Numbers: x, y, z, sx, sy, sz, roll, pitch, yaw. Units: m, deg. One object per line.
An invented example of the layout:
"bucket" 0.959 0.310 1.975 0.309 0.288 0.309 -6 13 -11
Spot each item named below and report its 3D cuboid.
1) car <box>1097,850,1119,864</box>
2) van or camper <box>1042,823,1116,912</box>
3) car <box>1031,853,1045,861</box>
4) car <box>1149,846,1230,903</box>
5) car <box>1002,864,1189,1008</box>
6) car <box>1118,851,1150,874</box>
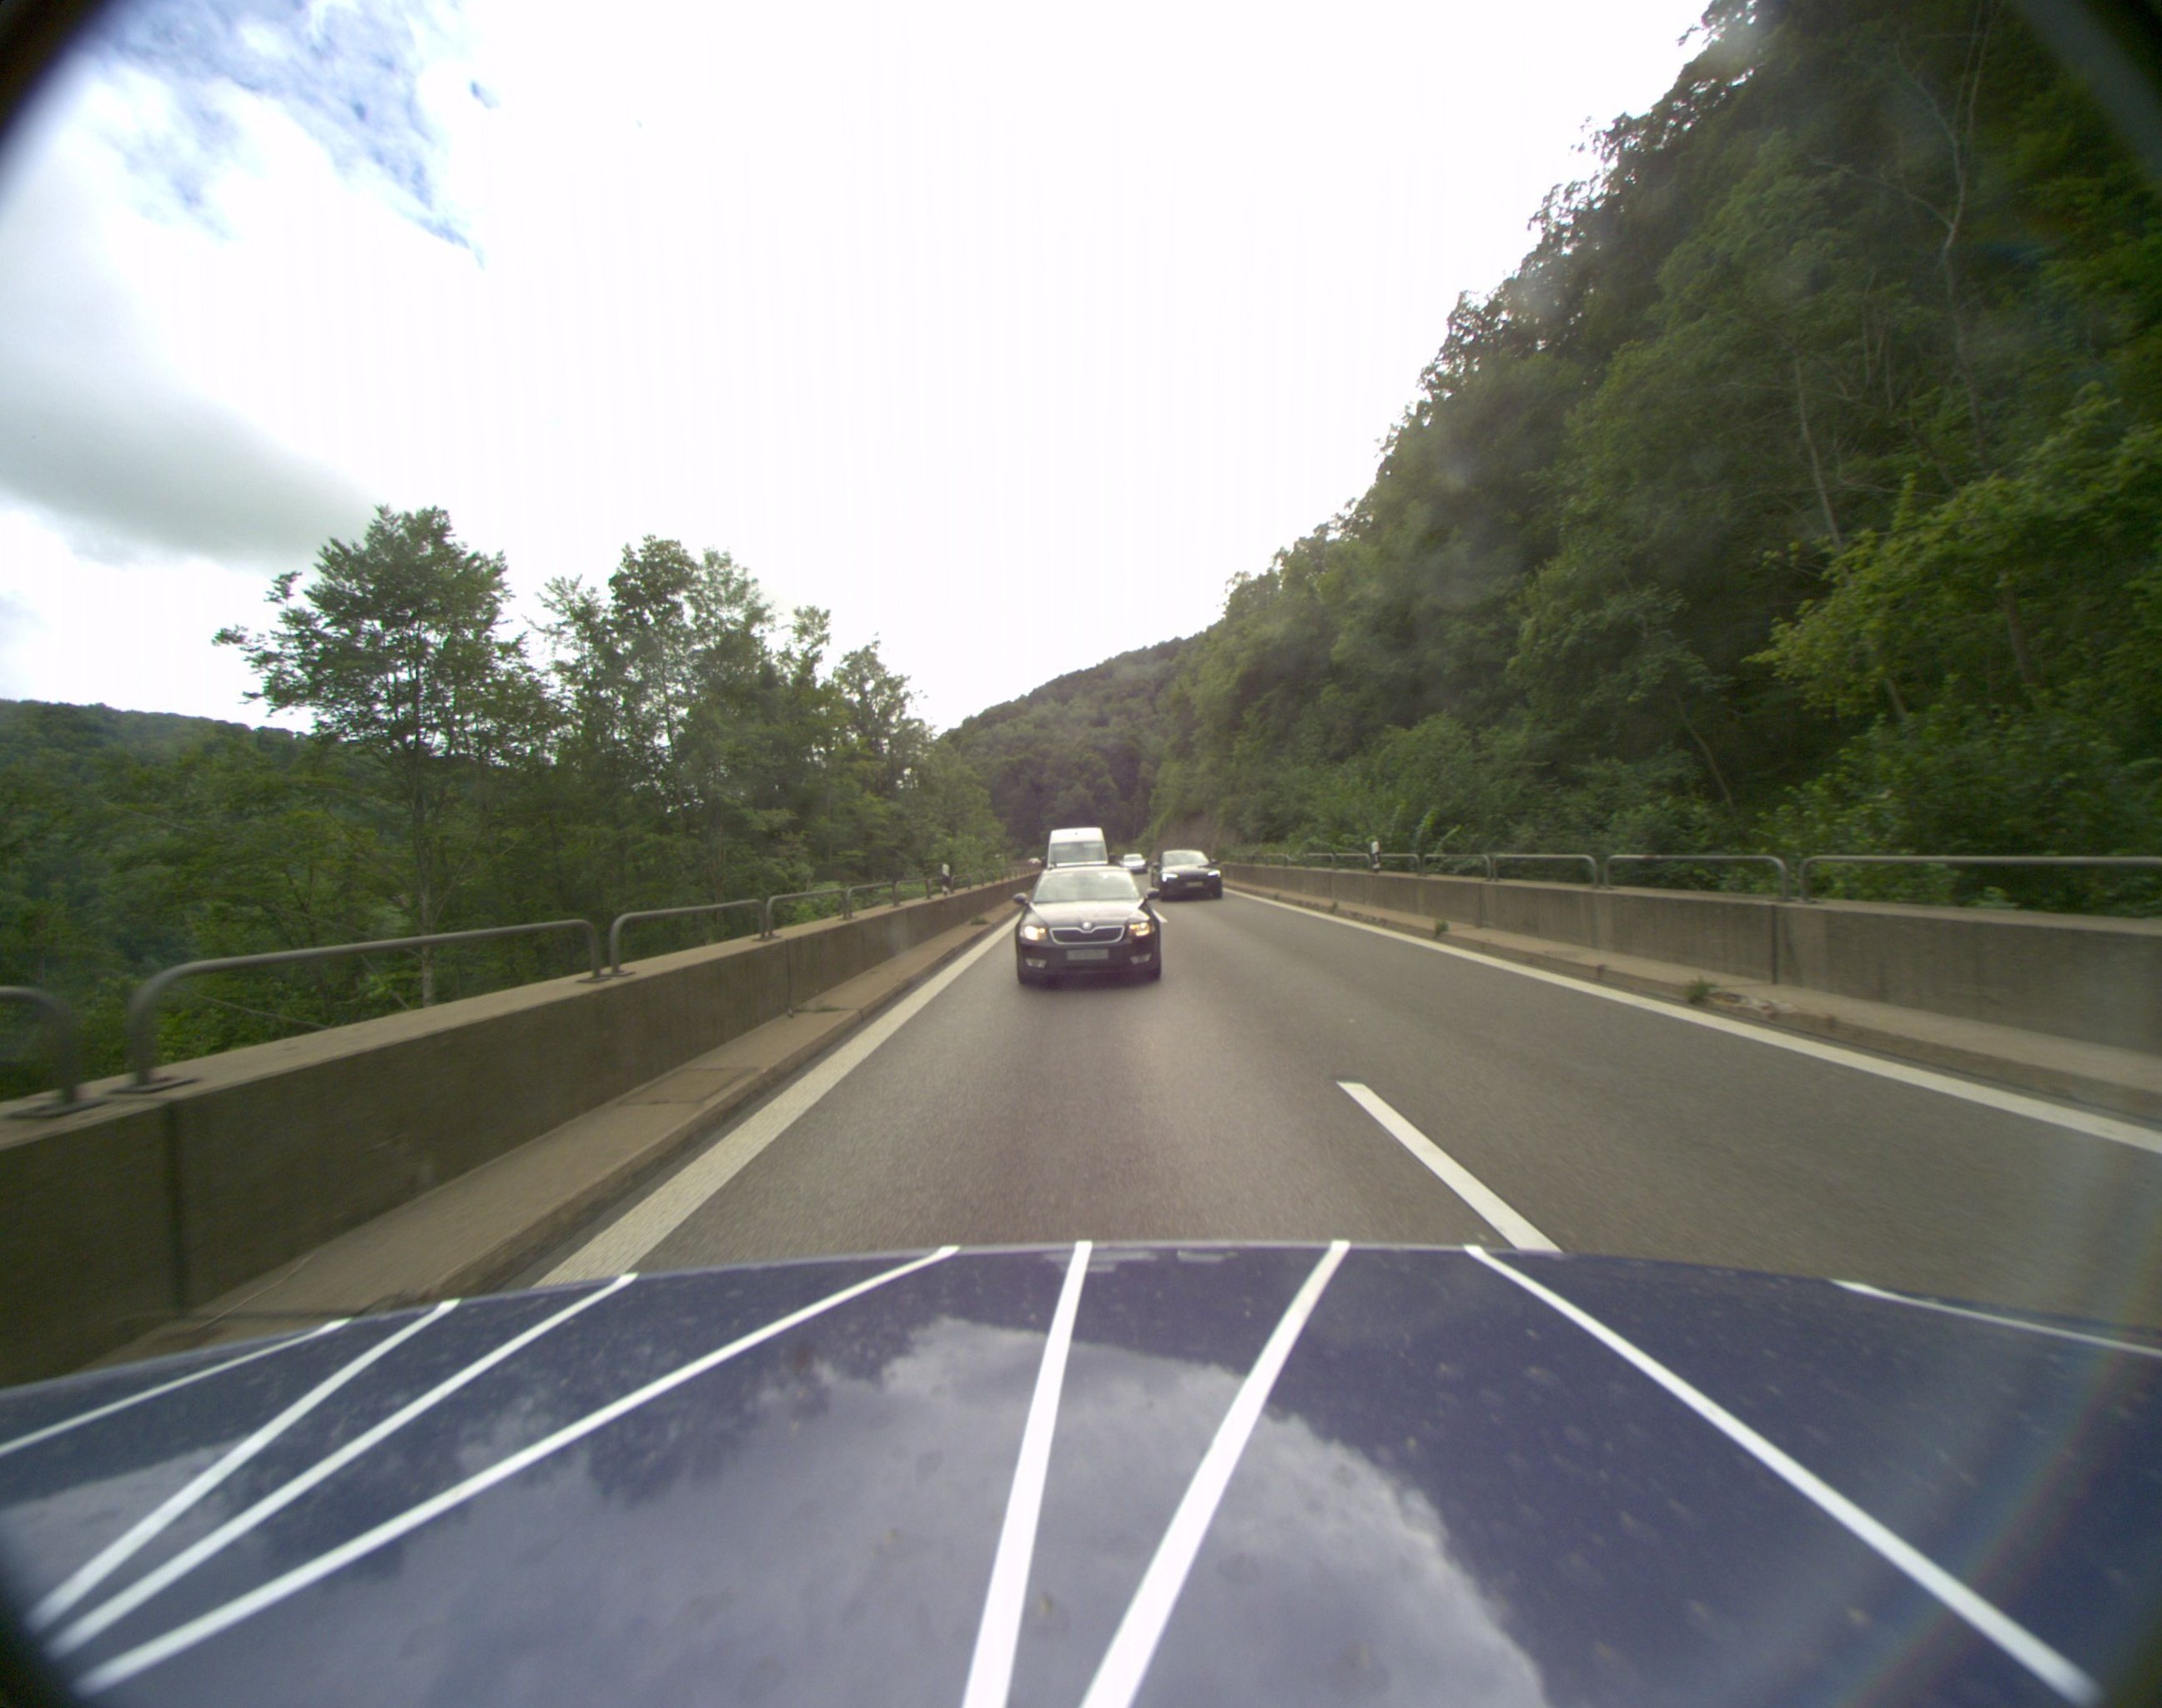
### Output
"car" 3.207 0.330 91.335 1.814 1.646 4.579 1 0 -8
"van or camper" -0.036 0.416 26.049 2.081 2.575 5.912 -3 0 0
"car" -8.536 0.550 151.550 1.815 1.646 4.576 1 0 -16
"car" 3.528 0.622 25.690 1.998 1.622 5.008 -3 0 1
"car" 0.195 0.953 11.001 1.998 1.389 5.008 -4 0 1
"car" 3.817 0.572 55.537 1.686 1.506 4.581 -4 1 -3
